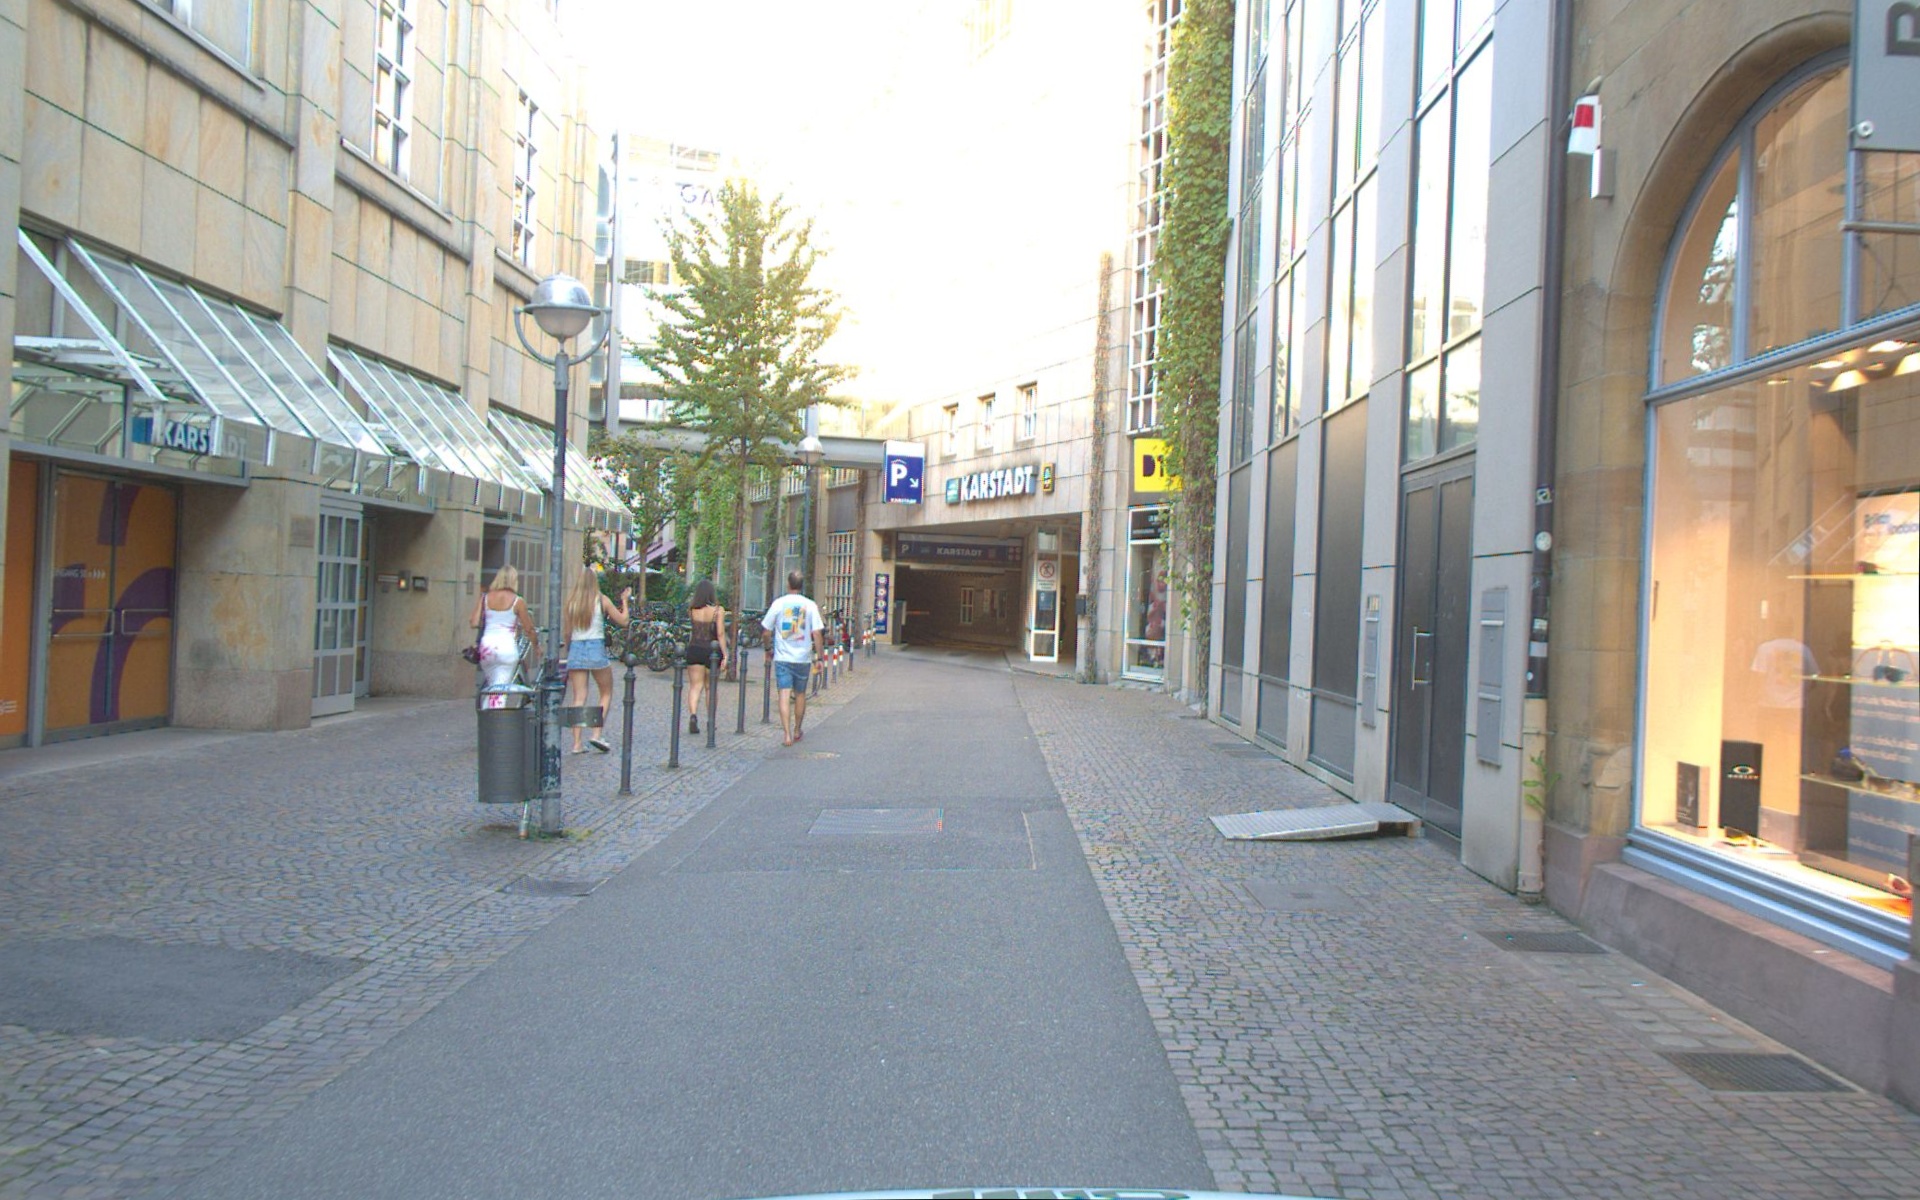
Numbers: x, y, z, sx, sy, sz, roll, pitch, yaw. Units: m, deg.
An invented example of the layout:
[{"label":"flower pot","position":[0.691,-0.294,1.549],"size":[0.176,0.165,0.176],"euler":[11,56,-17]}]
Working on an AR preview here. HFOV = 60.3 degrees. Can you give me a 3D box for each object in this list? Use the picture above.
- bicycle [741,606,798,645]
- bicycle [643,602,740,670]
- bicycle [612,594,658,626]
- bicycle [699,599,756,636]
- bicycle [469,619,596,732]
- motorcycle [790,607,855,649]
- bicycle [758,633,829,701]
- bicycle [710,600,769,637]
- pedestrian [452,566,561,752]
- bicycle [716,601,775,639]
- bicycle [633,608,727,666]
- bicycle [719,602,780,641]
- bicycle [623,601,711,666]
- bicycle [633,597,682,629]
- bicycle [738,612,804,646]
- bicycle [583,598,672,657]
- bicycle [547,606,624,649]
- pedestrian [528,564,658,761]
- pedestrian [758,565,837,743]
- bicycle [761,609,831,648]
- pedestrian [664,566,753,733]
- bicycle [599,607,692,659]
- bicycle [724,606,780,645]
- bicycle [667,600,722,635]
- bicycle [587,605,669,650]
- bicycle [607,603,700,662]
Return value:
[{"label":"bicycle","position":[-5.415,0.717,47.059],"size":[1.517,1.067,0.572],"euler":[1,0,-21]},{"label":"bicycle","position":[-5.102,0.688,31.475],"size":[1.742,1.252,0.530],"euler":[1,0,-23]},{"label":"bicycle","position":[-13.173,0.406,67.102],"size":[1.747,1.211,0.583],"euler":[1,0,-21]},{"label":"bicycle","position":[-7.582,0.570,53.904],"size":[1.747,1.134,0.539],"euler":[1,0,-21]},{"label":"bicycle","position":[-4.679,0.796,18.217],"size":[0.510,1.158,1.765],"euler":[1,0,16]},{"label":"motorcycle","position":[-3.634,0.744,43.640],"size":[1.638,1.069,0.461],"euler":[1,0,-21]},{"label":"bicycle","position":[-2.505,0.991,25.040],"size":[0.482,0.955,1.660],"euler":[3,0,15]},{"label":"bicycle","position":[-7.048,0.600,52.875],"size":[1.747,1.134,0.539],"euler":[1,0,-21]},{"label":"pedestrian","position":[-4.317,0.547,15.794],"size":[0.660,1.693,0.861],"euler":[2,0,8]},{"label":"bicycle","position":[-6.692,0.624,51.675],"size":[1.747,1.134,0.539],"euler":[1,0,-21]},{"label":"bicycle","position":[-5.694,0.758,33.642],"size":[1.811,1.142,0.530],"euler":[1,0,-23]},{"label":"bicycle","position":[-6.434,0.661,50.602],"size":[1.747,1.134,0.539],"euler":[1,0,-21]},{"label":"bicycle","position":[-5.804,0.671,32.750],"size":[1.631,1.252,0.530],"euler":[1,0,-23]},{"label":"bicycle","position":[-11.324,0.493,61.918],"size":[1.746,1.134,0.540],"euler":[1,0,-18]},{"label":"bicycle","position":[-5.273,0.804,46.109],"size":[1.747,0.920,0.461],"euler":[1,0,-21]},{"label":"bicycle","position":[-7.189,0.604,35.794],"size":[1.808,1.246,0.530],"euler":[1,0,-23]},{"label":"bicycle","position":[-9.352,0.688,41.326],"size":[1.799,1.061,0.530],"euler":[1,0,-23]},{"label":"pedestrian","position":[-3.447,0.570,15.594],"size":[0.789,1.760,0.949],"euler":[2,0,15]},{"label":"pedestrian","position":[-1.744,0.567,17.896],"size":[0.727,1.854,0.878],"euler":[1,0,0]},{"label":"bicycle","position":[-4.490,0.780,45.262],"size":[1.821,0.999,0.461],"euler":[1,0,-21]},{"label":"pedestrian","position":[-2.844,0.549,18.785],"size":[0.768,1.826,0.972],"euler":[1,0,4]},{"label":"bicycle","position":[-6.683,0.704,35.122],"size":[1.868,1.070,0.530],"euler":[1,0,-23]},{"label":"bicycle","position":[-6.036,0.742,48.034],"size":[1.517,1.067,0.572],"euler":[1,0,-21]},{"label":"bicycle","position":[-9.002,0.603,56.153],"size":[1.747,1.134,0.539],"euler":[1,0,-21]},{"label":"bicycle","position":[-7.934,0.660,39.574],"size":[1.851,1.061,0.530],"euler":[1,0,-23]},{"label":"bicycle","position":[-6.408,0.679,34.593],"size":[1.846,1.198,0.530],"euler":[1,0,-23]}]
